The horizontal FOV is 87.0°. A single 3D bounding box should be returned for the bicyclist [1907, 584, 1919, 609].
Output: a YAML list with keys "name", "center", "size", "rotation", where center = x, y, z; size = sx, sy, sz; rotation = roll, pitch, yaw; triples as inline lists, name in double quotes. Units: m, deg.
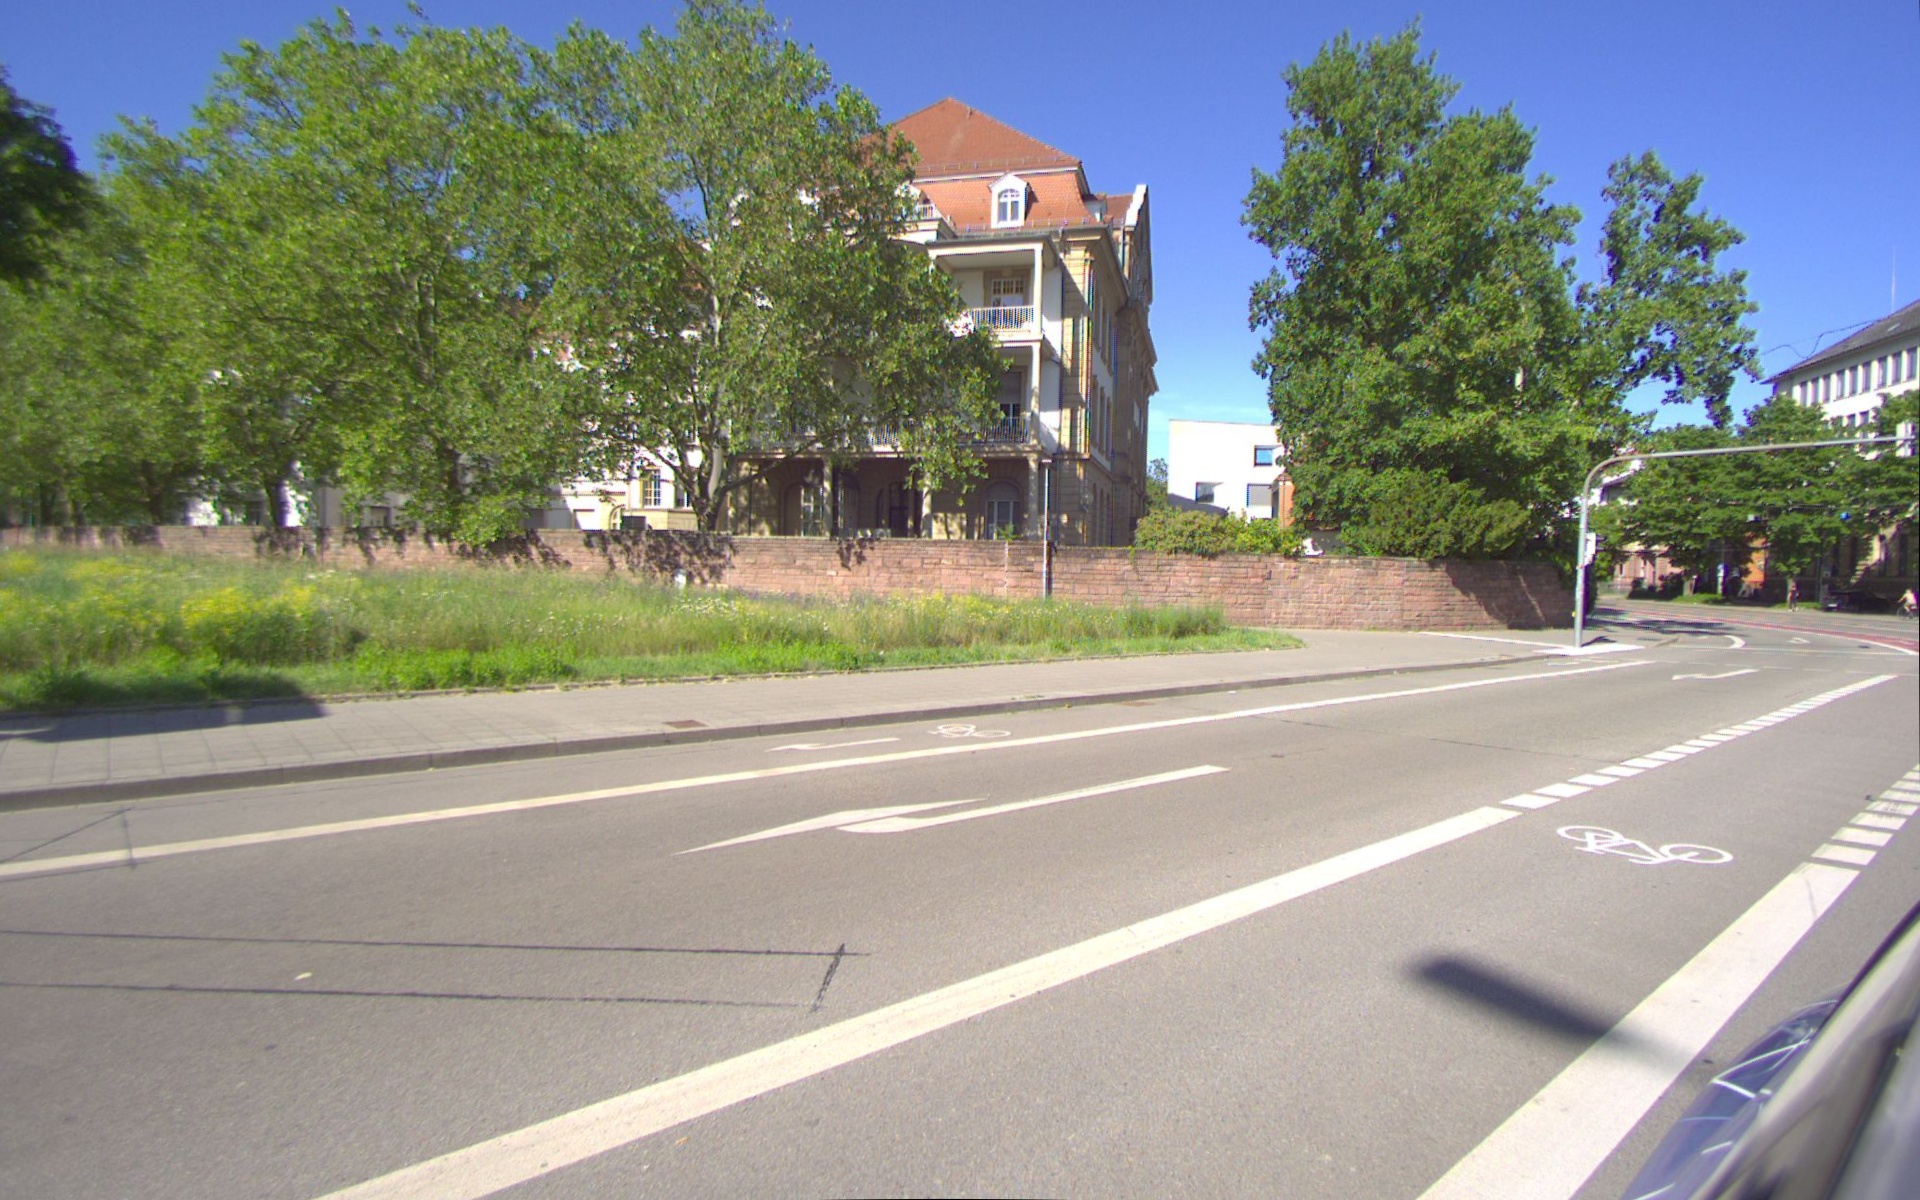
- name: "bicyclist"
  center: [54.450, -0.180, 57.356]
  size: [0.720, 1.402, 0.895]
  rotation: [1, 2, 3]

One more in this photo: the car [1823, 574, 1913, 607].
- name: "car"
  center: [61.204, -0.645, 68.248]
  size: [4.615, 2.038, 2.004]
  rotation: [1, 2, -9]

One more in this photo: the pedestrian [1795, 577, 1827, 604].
- name: "pedestrian"
  center: [59.558, -0.651, 70.854]
  size: [1.366, 1.844, 0.937]
  rotation: [1, 1, 4]

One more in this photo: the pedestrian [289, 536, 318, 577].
- name: "pedestrian"
  center: [-23.869, -1.561, 36.798]
  size: [0.516, 1.461, 0.721]
  rotation: [0, 0, 20]

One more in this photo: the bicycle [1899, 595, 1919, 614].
- name: "bicycle"
  center: [54.448, 0.264, 57.379]
  size: [0.720, 1.003, 1.834]
  rotation: [1, 2, 3]
